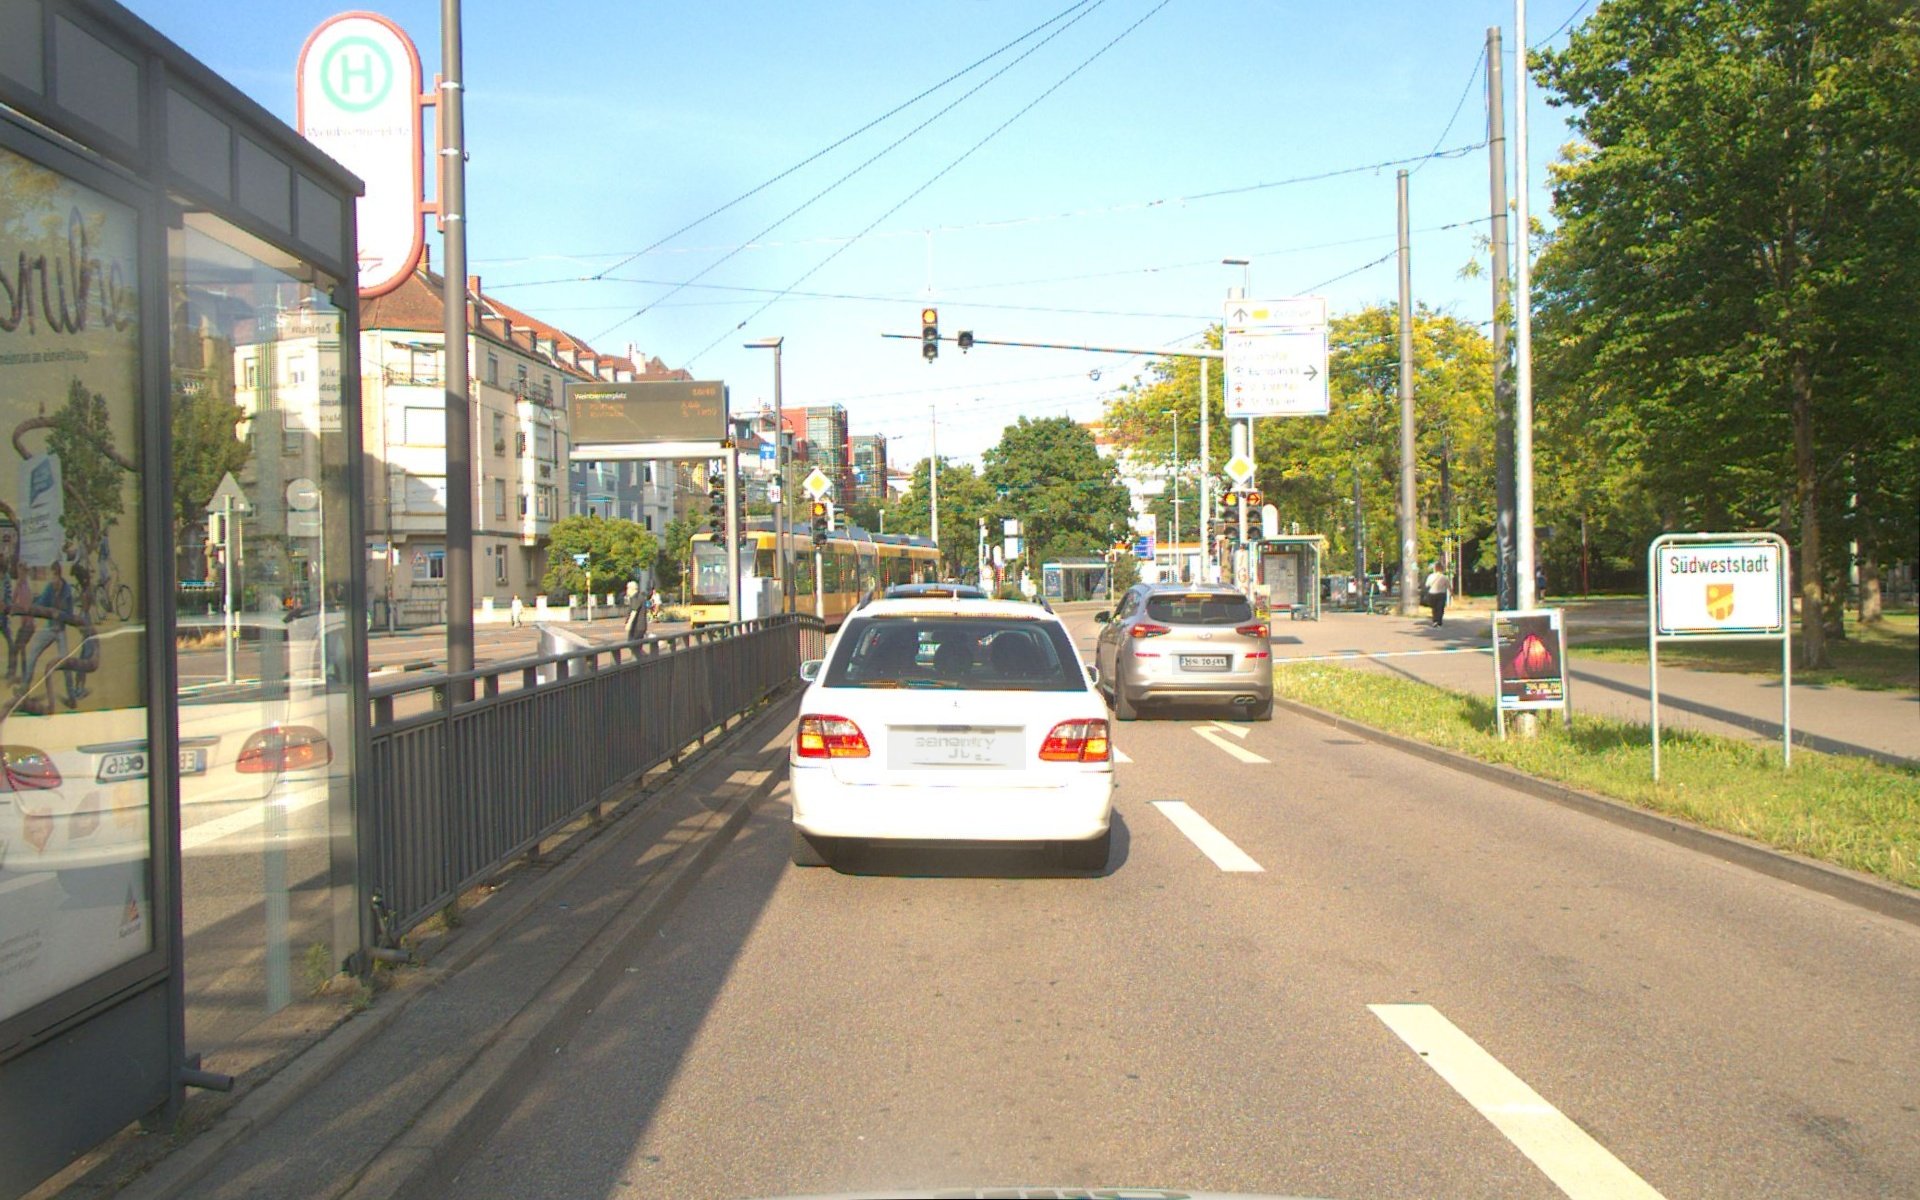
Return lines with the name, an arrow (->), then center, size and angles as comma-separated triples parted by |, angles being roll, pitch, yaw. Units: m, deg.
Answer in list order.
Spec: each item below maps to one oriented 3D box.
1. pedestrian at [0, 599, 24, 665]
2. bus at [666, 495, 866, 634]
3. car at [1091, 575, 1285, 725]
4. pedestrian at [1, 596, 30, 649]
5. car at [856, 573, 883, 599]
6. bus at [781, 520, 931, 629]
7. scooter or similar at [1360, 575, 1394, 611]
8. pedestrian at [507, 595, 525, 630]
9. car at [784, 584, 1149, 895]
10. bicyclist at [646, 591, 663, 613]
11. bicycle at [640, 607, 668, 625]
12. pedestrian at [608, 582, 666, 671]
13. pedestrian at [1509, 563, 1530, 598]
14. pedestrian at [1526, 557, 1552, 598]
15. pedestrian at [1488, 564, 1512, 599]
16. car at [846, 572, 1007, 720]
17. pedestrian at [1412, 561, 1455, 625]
pedestrian -> -23.459, 0.770, 40.289 | 0.812, 1.579, 0.782 | -1, 0, 21
bus -> -5.548, -0.917, 50.300 | 3.042, 3.669, 12.384 | 1, 0, 7
car -> 2.766, 0.564, 20.815 | 1.846, 1.680, 3.647 | -1, 0, -1
pedestrian -> -27.289, 0.642, 47.780 | 0.428, 1.527, 0.549 | -1, 0, 14
car -> -7.566, -1.172, 138.828 | 2.032, 2.049, 4.162 | 1, 0, -1
bus -> -3.674, -0.839, 62.678 | 3.042, 3.669, 12.601 | 1, 0, 9
scooter or similar -> 13.724, -0.227, 54.472 | 0.413, 1.136, 1.322 | -1, 0, -20
pedestrian -> -20.356, 0.557, 75.902 | 0.616, 1.568, 0.711 | -1, 0, -1
car -> 0.006, 0.667, 9.836 | 1.759, 1.496, 3.647 | 0, 0, -1
bicyclist -> -14.961, 0.114, 80.903 | 0.502, 1.062, 0.679 | -1, 0, 24
bicycle -> -14.962, 0.774, 80.855 | 0.515, 0.849, 1.686 | -1, 0, 22
pedestrian -> -6.246, 0.509, 31.979 | 0.788, 1.674, 0.745 | -1, 0, -45
pedestrian -> 24.342, -0.847, 71.962 | 0.796, 1.513, 0.700 | -1, 0, 24
pedestrian -> 25.618, -0.992, 73.141 | 0.784, 1.816, 0.838 | -1, 0, -5
pedestrian -> 23.792, -0.802, 72.855 | 0.809, 1.513, 0.690 | -1, 0, -42
car -> -0.413, 0.522, 21.058 | 1.846, 1.680, 3.647 | 1, 0, -1
pedestrian -> 12.609, -0.180, 44.029 | 0.748, 1.665, 0.797 | -1, 0, -40
